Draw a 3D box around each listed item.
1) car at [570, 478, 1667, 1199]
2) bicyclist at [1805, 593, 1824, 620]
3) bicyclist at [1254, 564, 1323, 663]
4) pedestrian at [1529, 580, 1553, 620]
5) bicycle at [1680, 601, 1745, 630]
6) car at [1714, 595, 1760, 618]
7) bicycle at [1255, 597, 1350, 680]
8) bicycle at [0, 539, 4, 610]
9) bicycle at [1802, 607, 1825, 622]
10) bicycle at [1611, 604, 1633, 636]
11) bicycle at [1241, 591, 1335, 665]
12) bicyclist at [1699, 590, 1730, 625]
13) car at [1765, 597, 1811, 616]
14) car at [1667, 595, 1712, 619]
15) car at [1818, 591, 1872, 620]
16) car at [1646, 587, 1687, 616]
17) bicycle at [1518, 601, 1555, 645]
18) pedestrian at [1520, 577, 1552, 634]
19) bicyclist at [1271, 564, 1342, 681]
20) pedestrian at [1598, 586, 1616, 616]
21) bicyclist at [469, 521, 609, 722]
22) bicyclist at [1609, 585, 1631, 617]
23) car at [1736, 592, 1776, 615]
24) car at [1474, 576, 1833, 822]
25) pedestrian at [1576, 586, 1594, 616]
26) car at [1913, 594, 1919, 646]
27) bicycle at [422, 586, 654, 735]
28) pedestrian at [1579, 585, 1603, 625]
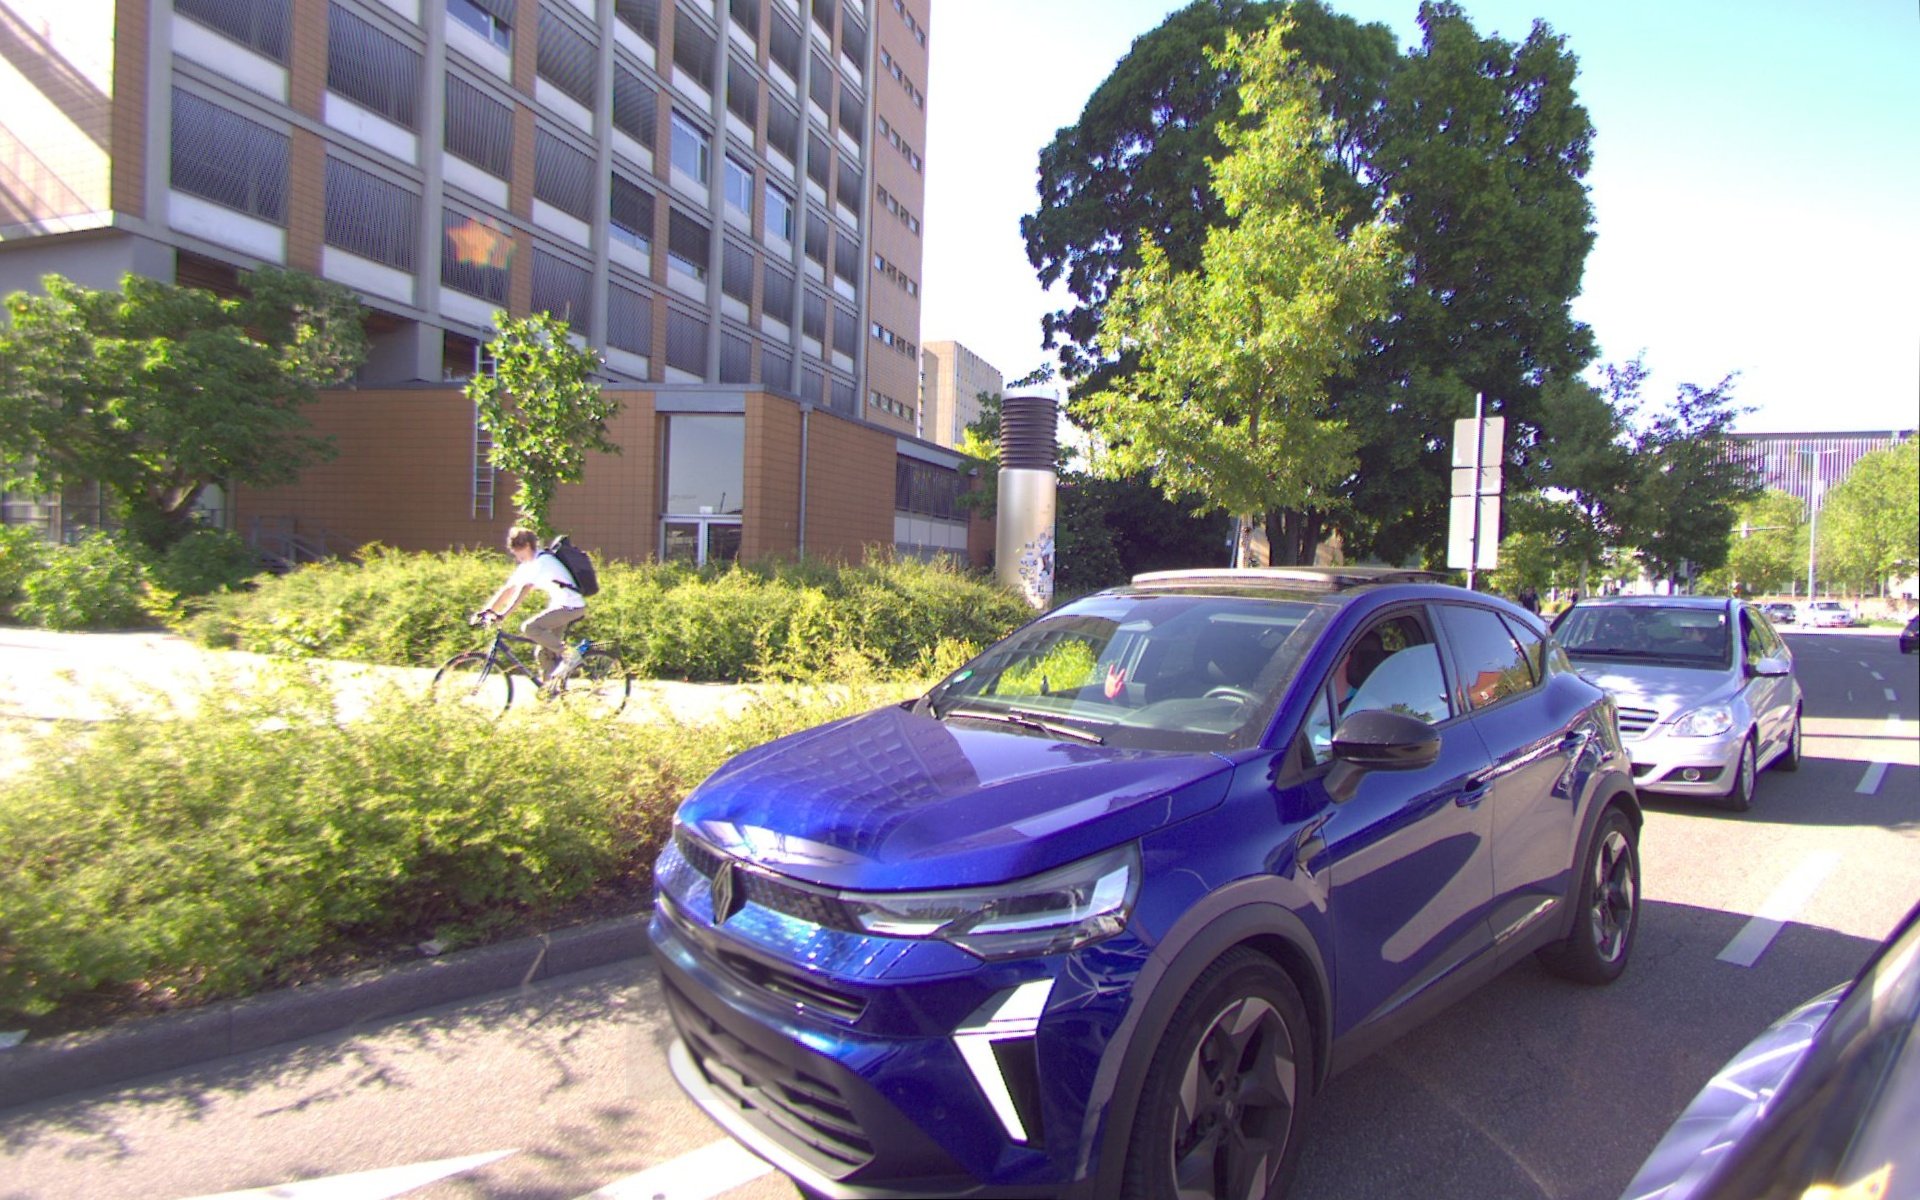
[{"bbox_3d":[0.935,0.606,3.626,4.012,1.626,1.704,1,1,-41],"label":"car"},{"bbox_3d":[50.072,0.357,59.314,0.688,1.578,0.809,0,0,26],"label":"bicyclist"},{"bbox_3d":[5.591,0.221,17.229,0.961,1.618,0.686,1,2,-43],"label":"bicyclist"},{"bbox_3d":[23.922,0.007,41.679,0.685,1.624,0.657,2,1,22],"label":"pedestrian"},{"bbox_3d":[32.855,0.672,44.214,2.099,1.189,0.760,1,0,21],"label":"bicycle"},{"bbox_3d":[50.350,0.389,65.620,1.737,1.396,3.539,1,1,28],"label":"car"},{"bbox_3d":[5.094,0.537,14.991,0.625,1.128,1.822,2,1,43],"label":"bicycle"},{"bbox_3d":[-20.045,-0.501,18.908,0.790,1.394,3.110,2,1,26],"label":"bicycle"},{"bbox_3d":[50.086,0.842,59.399,0.584,0.901,1.640,0,0,25],"label":"bicycle"},{"bbox_3d":[27.968,0.823,42.763,0.687,1.232,1.814,4,3,32],"label":"bicycle"},{"bbox_3d":[5.616,0.451,17.276,1.852,1.178,0.686,1,2,-43],"label":"bicycle"},{"bbox_3d":[32.932,0.303,44.185,0.837,1.492,0.760,2,1,21],"label":"bicyclist"},{"bbox_3d":[57.413,0.427,70.226,1.569,1.219,3.965,0,1,26],"label":"car"},{"bbox_3d":[46.595,0.441,64.692,1.735,1.494,3.541,0,0,26],"label":"car"},{"bbox_3d":[53.903,0.318,61.696,1.509,1.701,3.352,1,0,24],"label":"car"},{"bbox_3d":[49.357,0.092,70.800,1.811,1.876,3.716,2,1,28],"label":"car"},{"bbox_3d":[15.037,0.573,26.382,0.515,1.057,1.743,4,3,39],"label":"bicycle"},{"bbox_3d":[14.964,0.136,26.295,0.515,1.419,0.948,4,3,39],"label":"pedestrian"},{"bbox_3d":[5.161,0.314,15.053,0.625,1.658,0.979,2,1,43],"label":"bicyclist"},{"bbox_3d":[41.679,0.041,65.237,0.811,1.941,0.767,0,0,20],"label":"pedestrian"},{"bbox_3d":[-3.541,0.165,8.529,0.930,1.588,0.572,1,0,-42],"label":"bicyclist"},{"bbox_3d":[27.841,0.033,42.703,0.717,1.294,0.897,4,3,33],"label":"bicyclist"},{"bbox_3d":[60.053,0.266,76.390,1.579,1.625,3.047,2,1,23],"label":"car"},{"bbox_3d":[6.180,0.656,8.829,3.975,1.645,1.783,0,1,-43],"label":"car"},{"bbox_3d":[40.651,0.038,65.832,0.811,1.941,0.767,0,0,20],"label":"pedestrian"},{"bbox_3d":[31.801,0.671,31.862,3.419,1.631,1.654,1,1,-30],"label":"car"},{"bbox_3d":[-3.524,0.464,8.553,1.710,1.139,0.572,1,1,-42],"label":"bicycle"},{"bbox_3d":[26.093,0.217,41.862,0.685,1.624,0.657,2,1,22],"label":"pedestrian"}]
